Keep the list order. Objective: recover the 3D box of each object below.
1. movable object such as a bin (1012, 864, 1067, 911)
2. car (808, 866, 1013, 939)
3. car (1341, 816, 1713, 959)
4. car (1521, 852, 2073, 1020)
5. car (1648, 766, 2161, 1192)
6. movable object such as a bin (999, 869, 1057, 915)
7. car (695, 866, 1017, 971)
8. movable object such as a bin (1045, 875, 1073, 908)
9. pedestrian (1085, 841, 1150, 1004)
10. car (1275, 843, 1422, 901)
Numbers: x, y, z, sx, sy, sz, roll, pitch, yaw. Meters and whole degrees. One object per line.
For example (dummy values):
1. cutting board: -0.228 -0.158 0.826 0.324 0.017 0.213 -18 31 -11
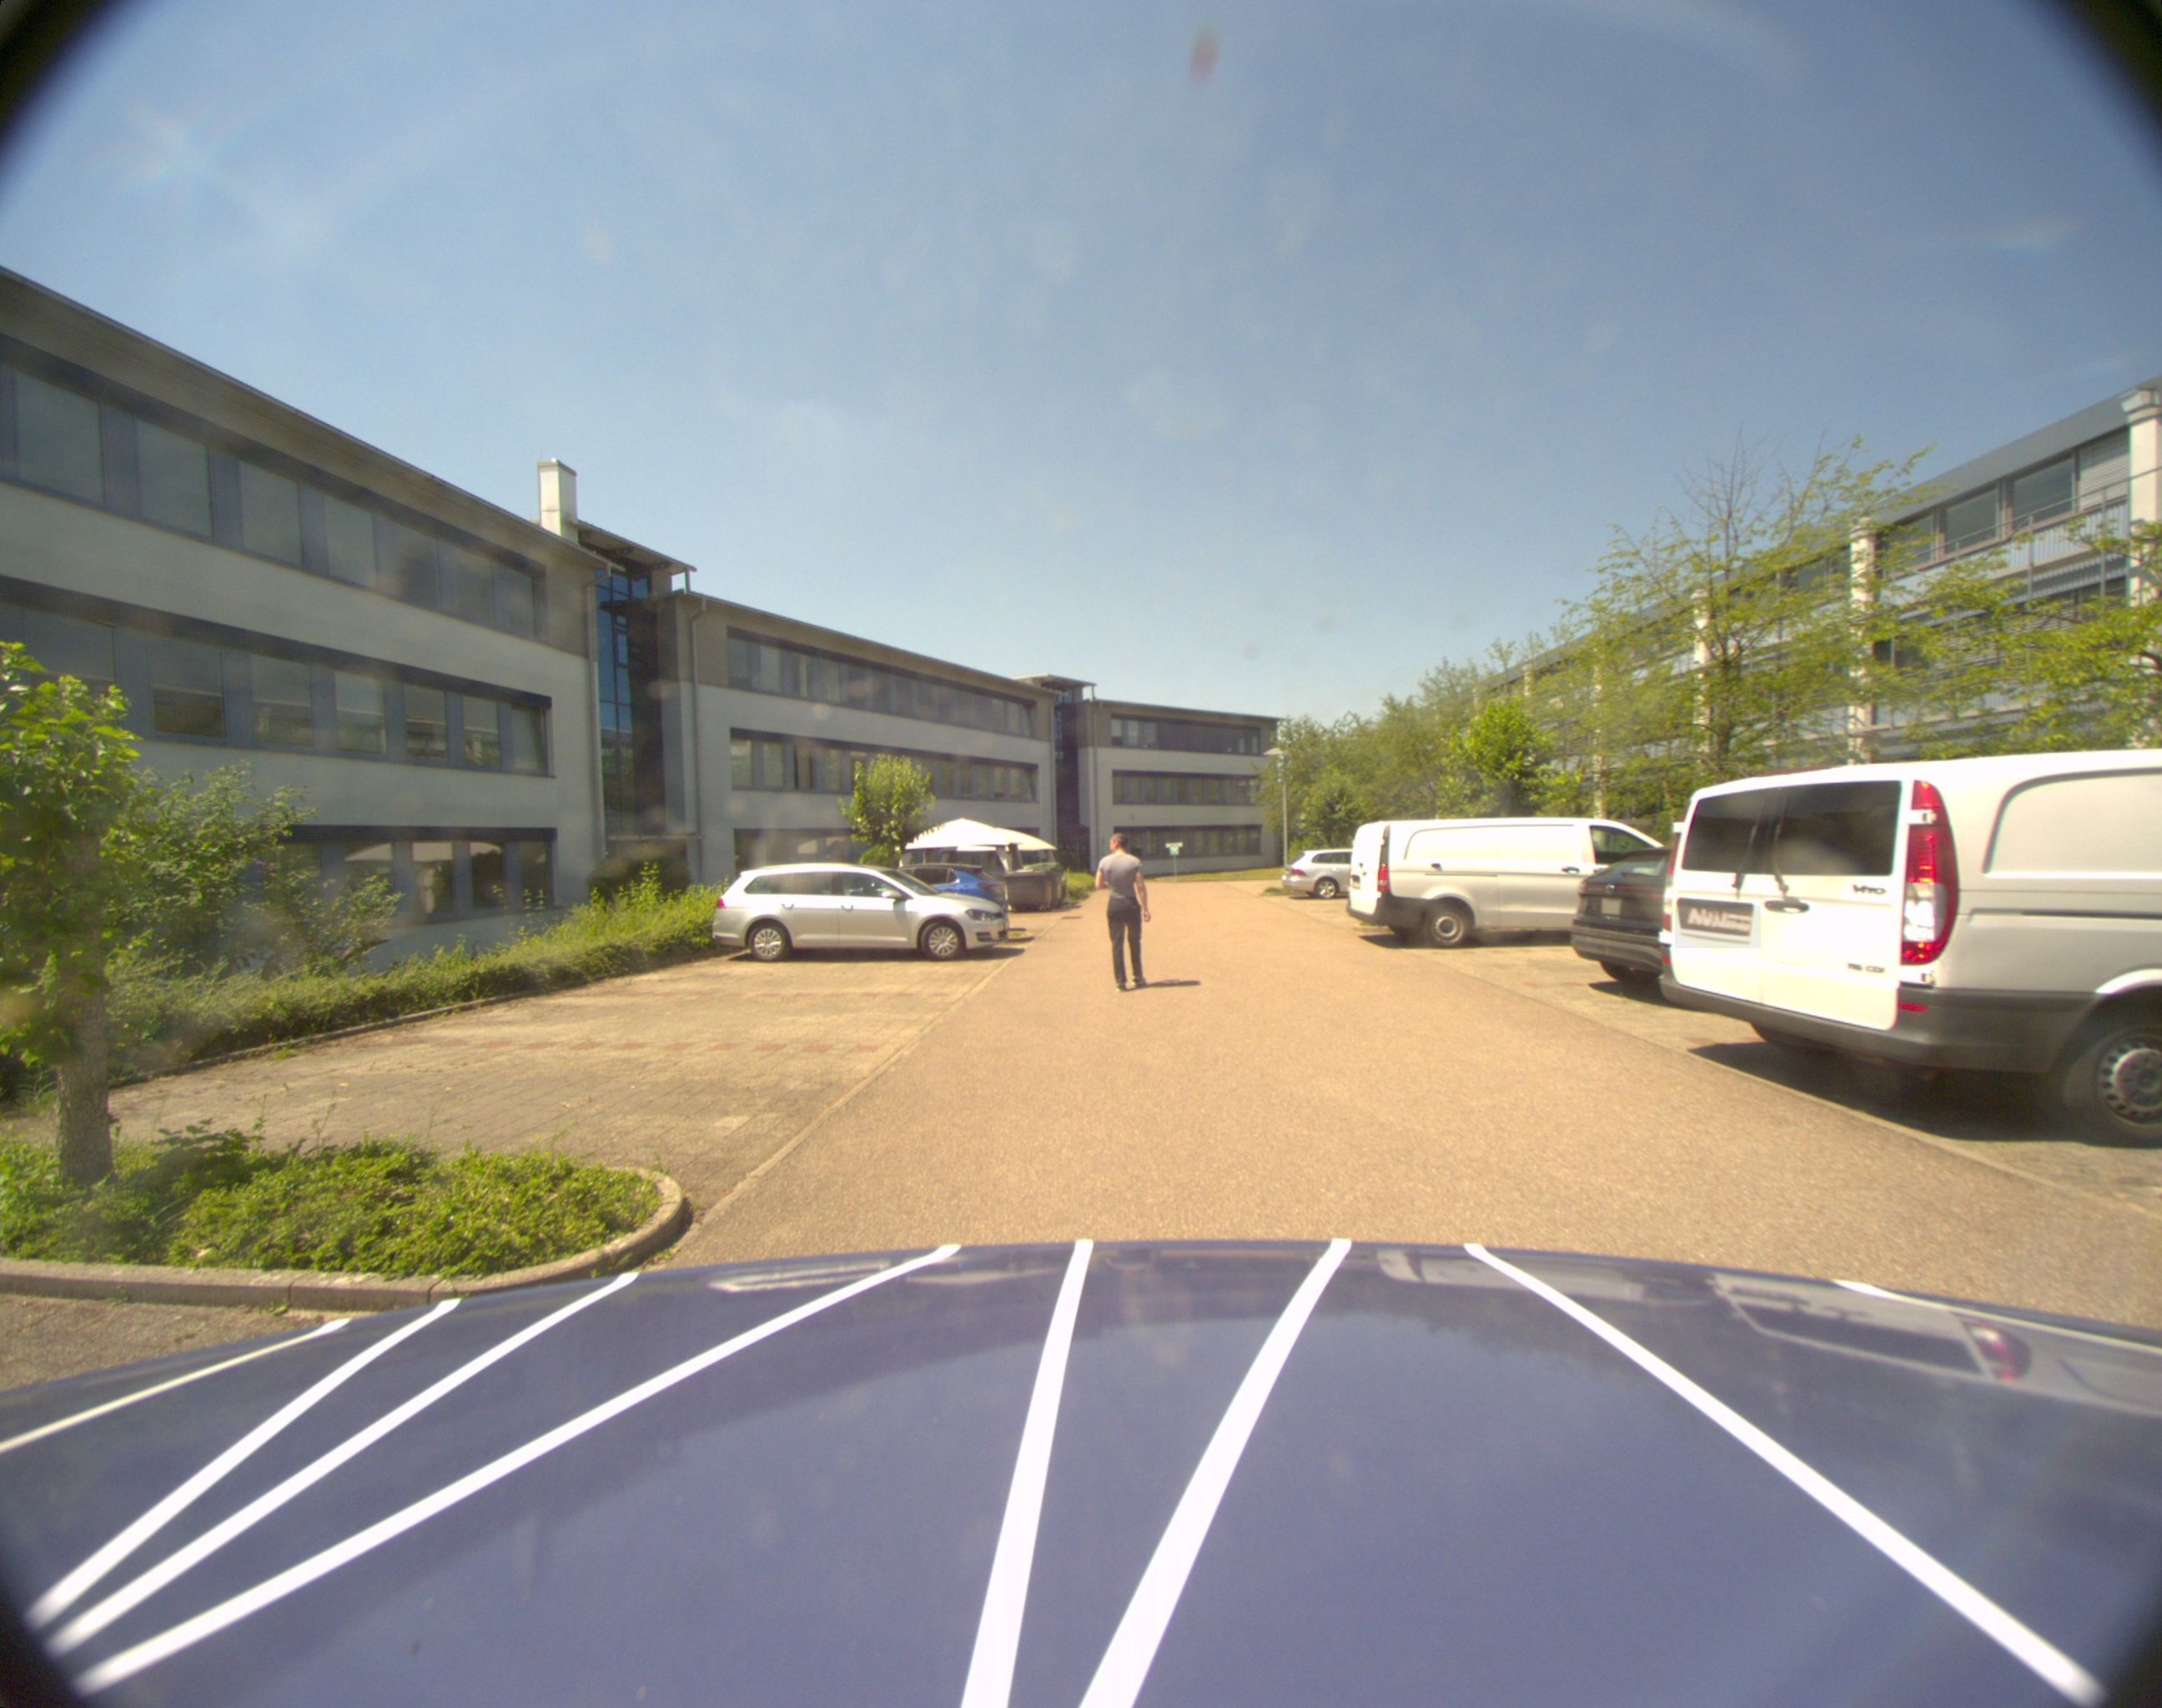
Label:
1. movable object such as a bin: -1.177 0.949 21.983 1.362 1.288 1.044 -1 1 9
2. car: -3.422 0.952 15.690 3.823 1.383 1.652 0 1 3
3. car: 6.517 0.471 11.517 4.516 1.871 1.829 -2 1 3
4. car: 6.720 0.734 7.465 3.848 1.385 1.577 -2 1 3
5. car: 6.249 0.513 4.228 4.731 1.895 1.830 -2 1 3
6. movable object such as a bin: -1.452 1.036 20.964 1.362 1.182 0.998 -1 1 9
7. car: -3.393 0.966 12.055 4.516 1.488 1.829 0 1 3
8. movable object such as a bin: -0.670 1.119 22.851 0.690 0.944 0.722 -1 1 9
9. pedestrian: 0.429 0.743 8.584 0.618 1.747 0.788 -1 1 7
10. car: 7.845 0.502 22.525 3.762 1.549 1.661 -2 1 3
